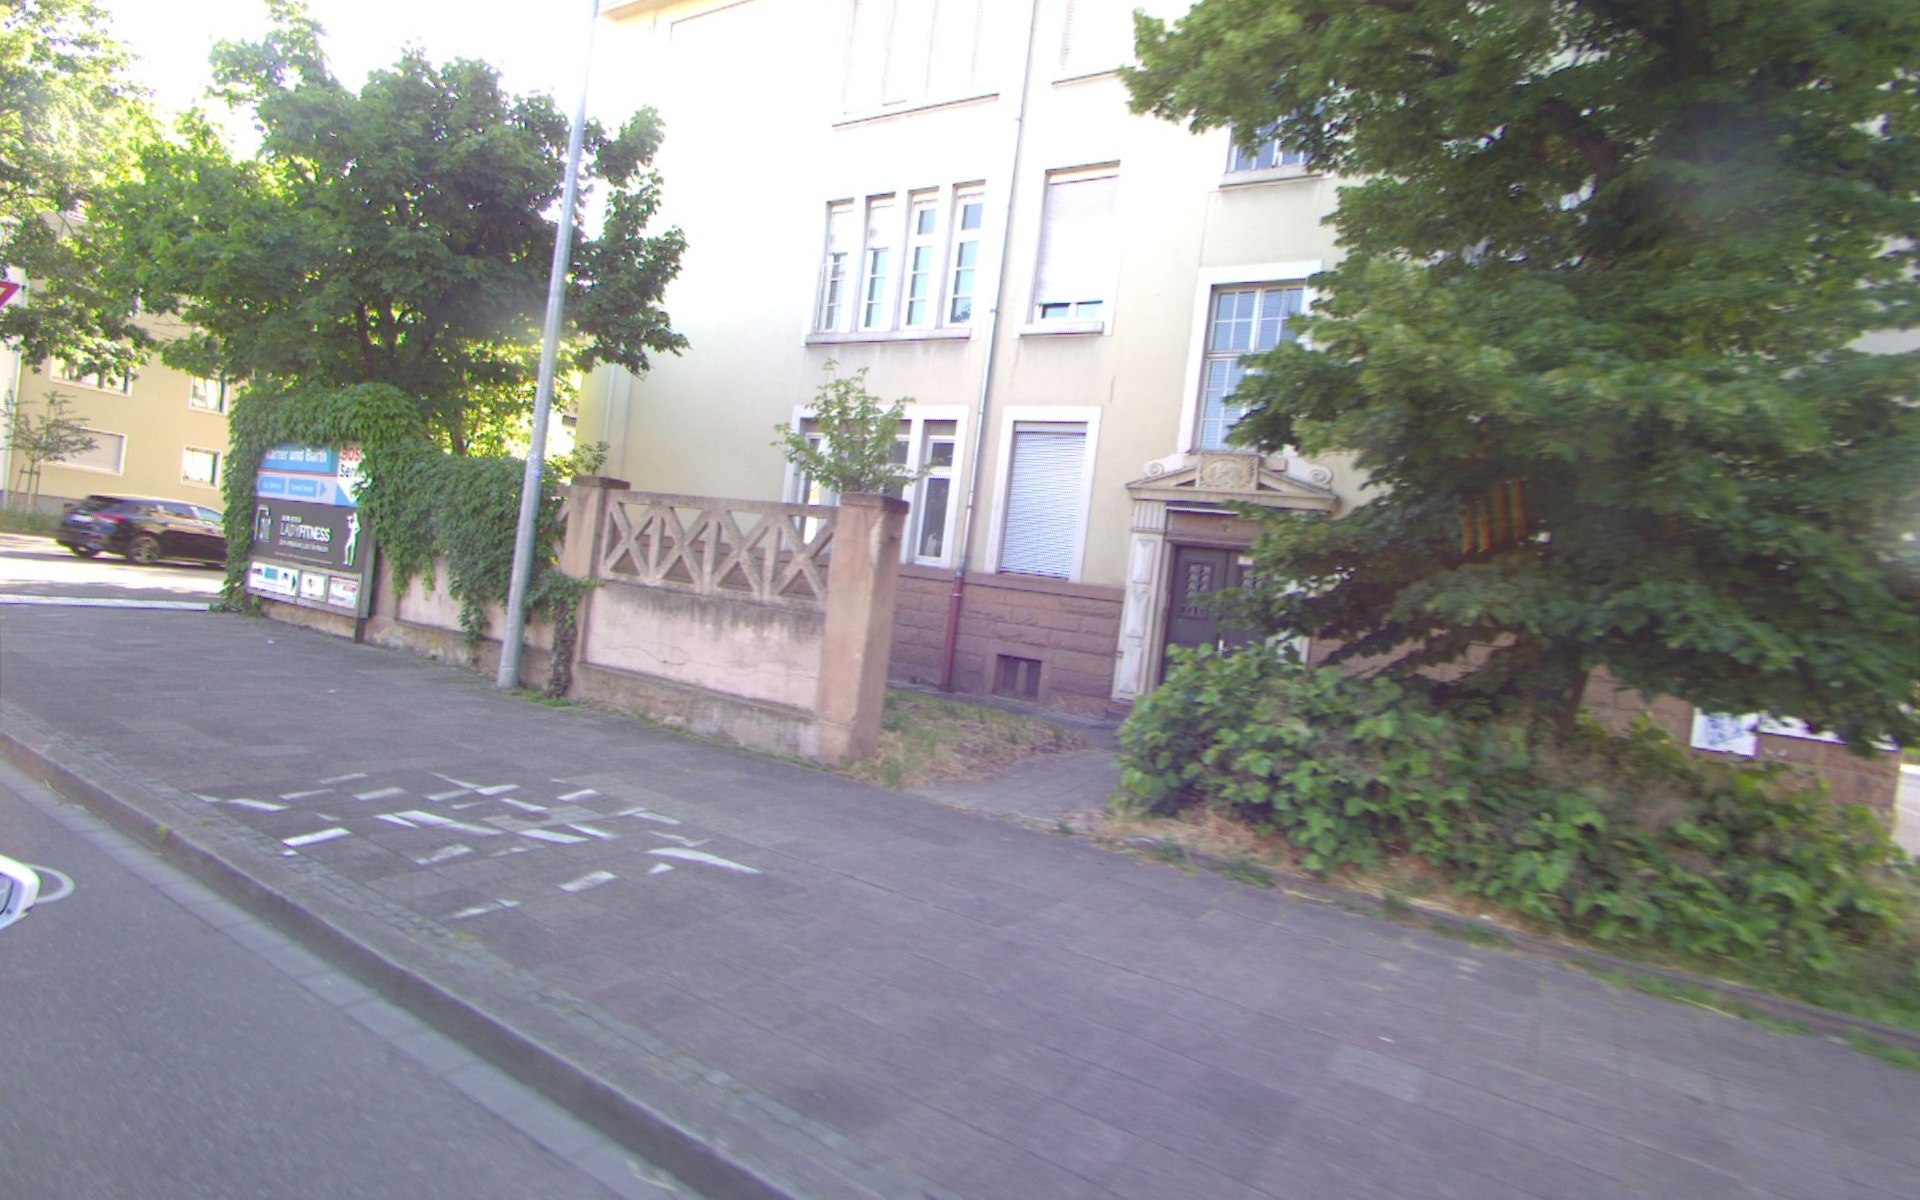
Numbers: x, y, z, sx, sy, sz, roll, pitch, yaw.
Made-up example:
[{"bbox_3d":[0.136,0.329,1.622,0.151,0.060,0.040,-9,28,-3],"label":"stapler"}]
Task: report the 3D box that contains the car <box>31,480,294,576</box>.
[{"bbox_3d":[-17.097,-1.471,21.873,1.818,1.438,4.209,8,0,10],"label":"car"}]
